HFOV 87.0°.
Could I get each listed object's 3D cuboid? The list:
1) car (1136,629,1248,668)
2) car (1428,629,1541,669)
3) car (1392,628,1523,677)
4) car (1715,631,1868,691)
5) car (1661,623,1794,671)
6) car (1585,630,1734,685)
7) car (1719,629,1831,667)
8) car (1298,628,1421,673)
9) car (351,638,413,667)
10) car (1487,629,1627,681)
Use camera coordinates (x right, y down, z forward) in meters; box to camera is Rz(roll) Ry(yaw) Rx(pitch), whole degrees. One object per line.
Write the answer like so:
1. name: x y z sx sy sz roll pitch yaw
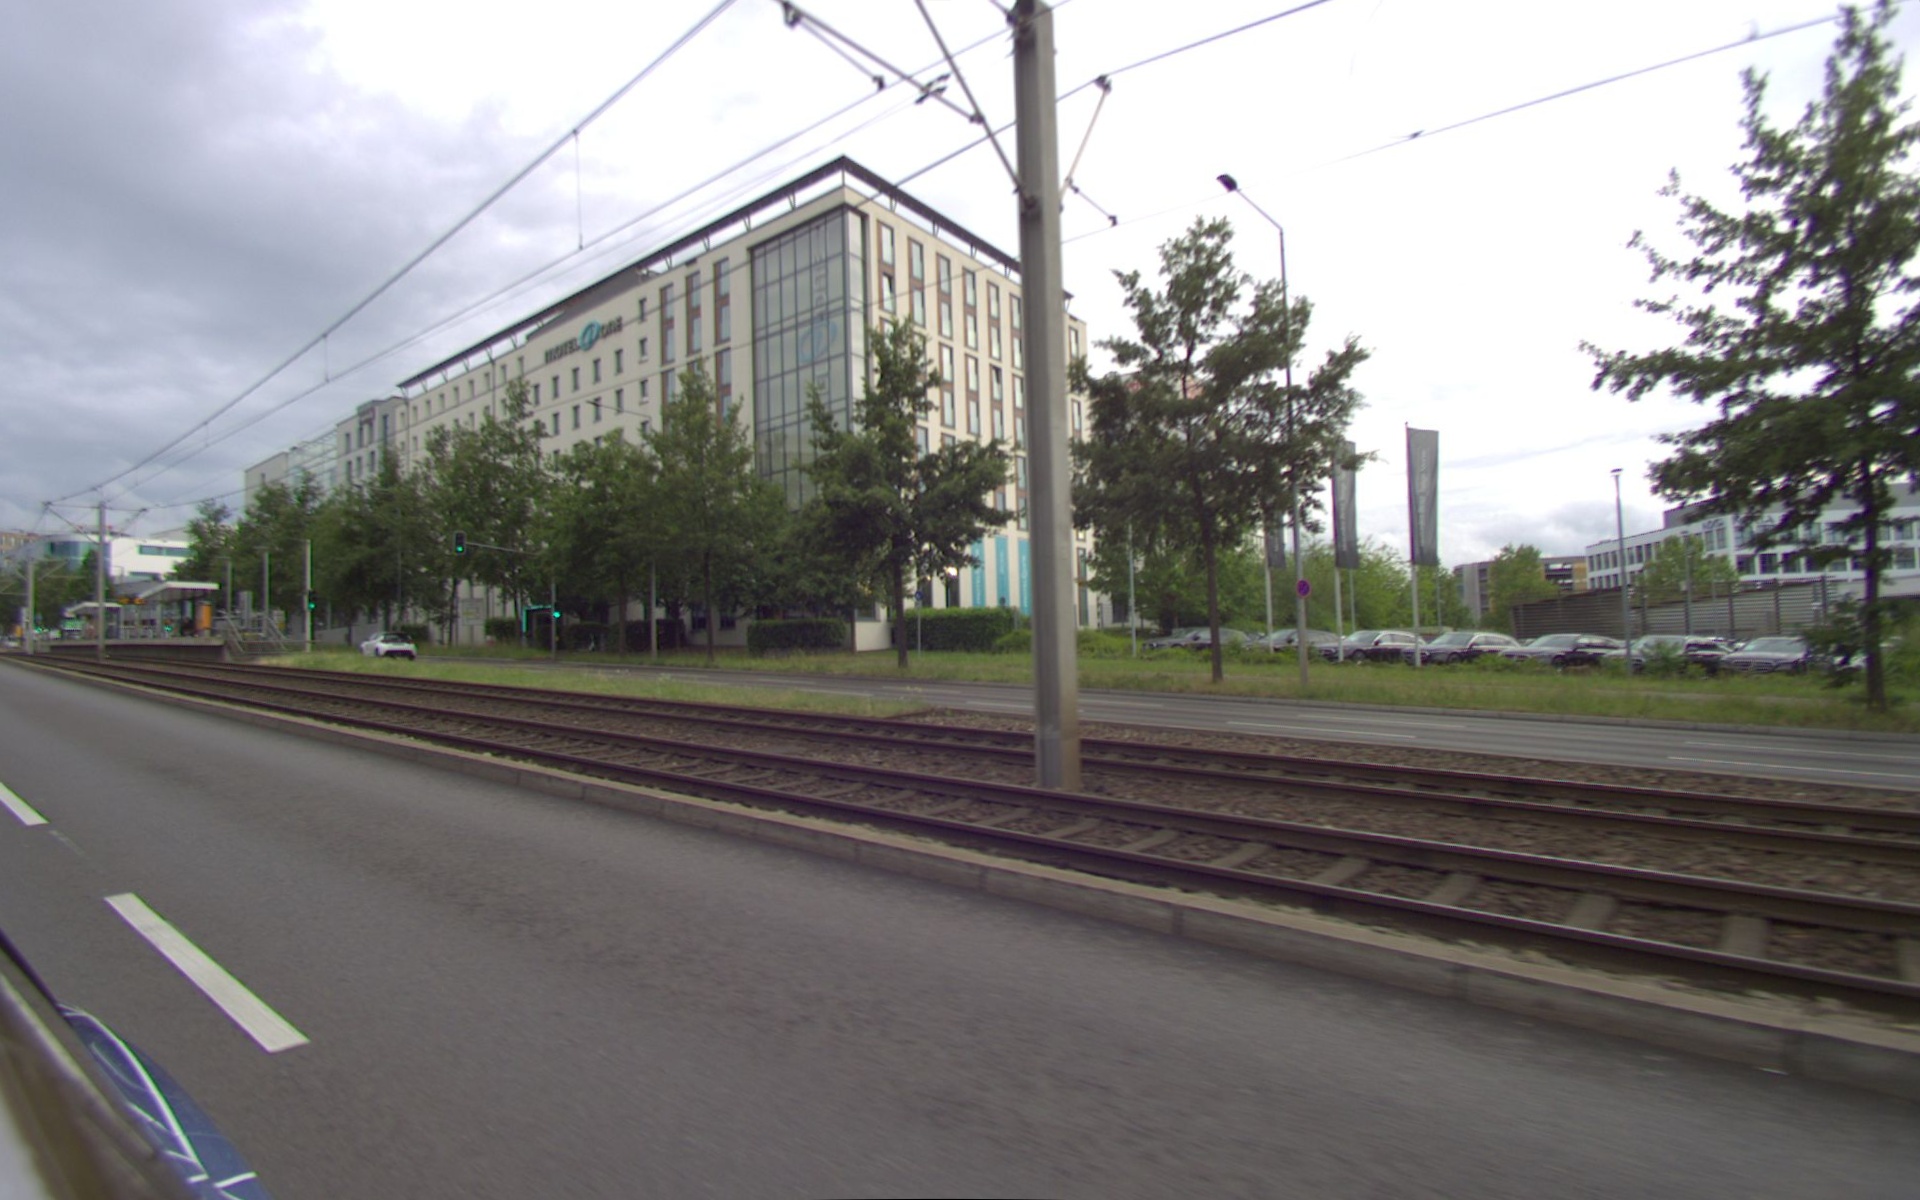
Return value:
1. car: 9.304 1.924 40.693 3.934 1.401 1.808 -1 0 -12
2. car: 21.060 1.930 40.656 3.931 1.401 1.809 -1 0 -19
3. car: 16.770 1.736 34.101 3.931 1.401 1.770 -1 0 -22
4. car: 23.059 1.635 28.058 3.931 1.401 1.809 -1 0 -26
5. car: 25.831 1.529 34.068 3.931 1.401 1.809 -1 0 -22
6. car: 20.884 1.670 30.217 3.931 1.401 1.809 -1 0 -22
7. car: 34.451 2.001 42.776 3.931 1.401 1.809 -1 0 -18
8. car: 14.379 1.775 36.435 3.931 1.401 1.809 -1 0 -22
9. car: -29.520 2.675 51.672 3.817 1.375 1.678 -2 -5 44
10. car: 18.976 1.700 32.162 3.931 1.401 1.809 -1 0 -22
